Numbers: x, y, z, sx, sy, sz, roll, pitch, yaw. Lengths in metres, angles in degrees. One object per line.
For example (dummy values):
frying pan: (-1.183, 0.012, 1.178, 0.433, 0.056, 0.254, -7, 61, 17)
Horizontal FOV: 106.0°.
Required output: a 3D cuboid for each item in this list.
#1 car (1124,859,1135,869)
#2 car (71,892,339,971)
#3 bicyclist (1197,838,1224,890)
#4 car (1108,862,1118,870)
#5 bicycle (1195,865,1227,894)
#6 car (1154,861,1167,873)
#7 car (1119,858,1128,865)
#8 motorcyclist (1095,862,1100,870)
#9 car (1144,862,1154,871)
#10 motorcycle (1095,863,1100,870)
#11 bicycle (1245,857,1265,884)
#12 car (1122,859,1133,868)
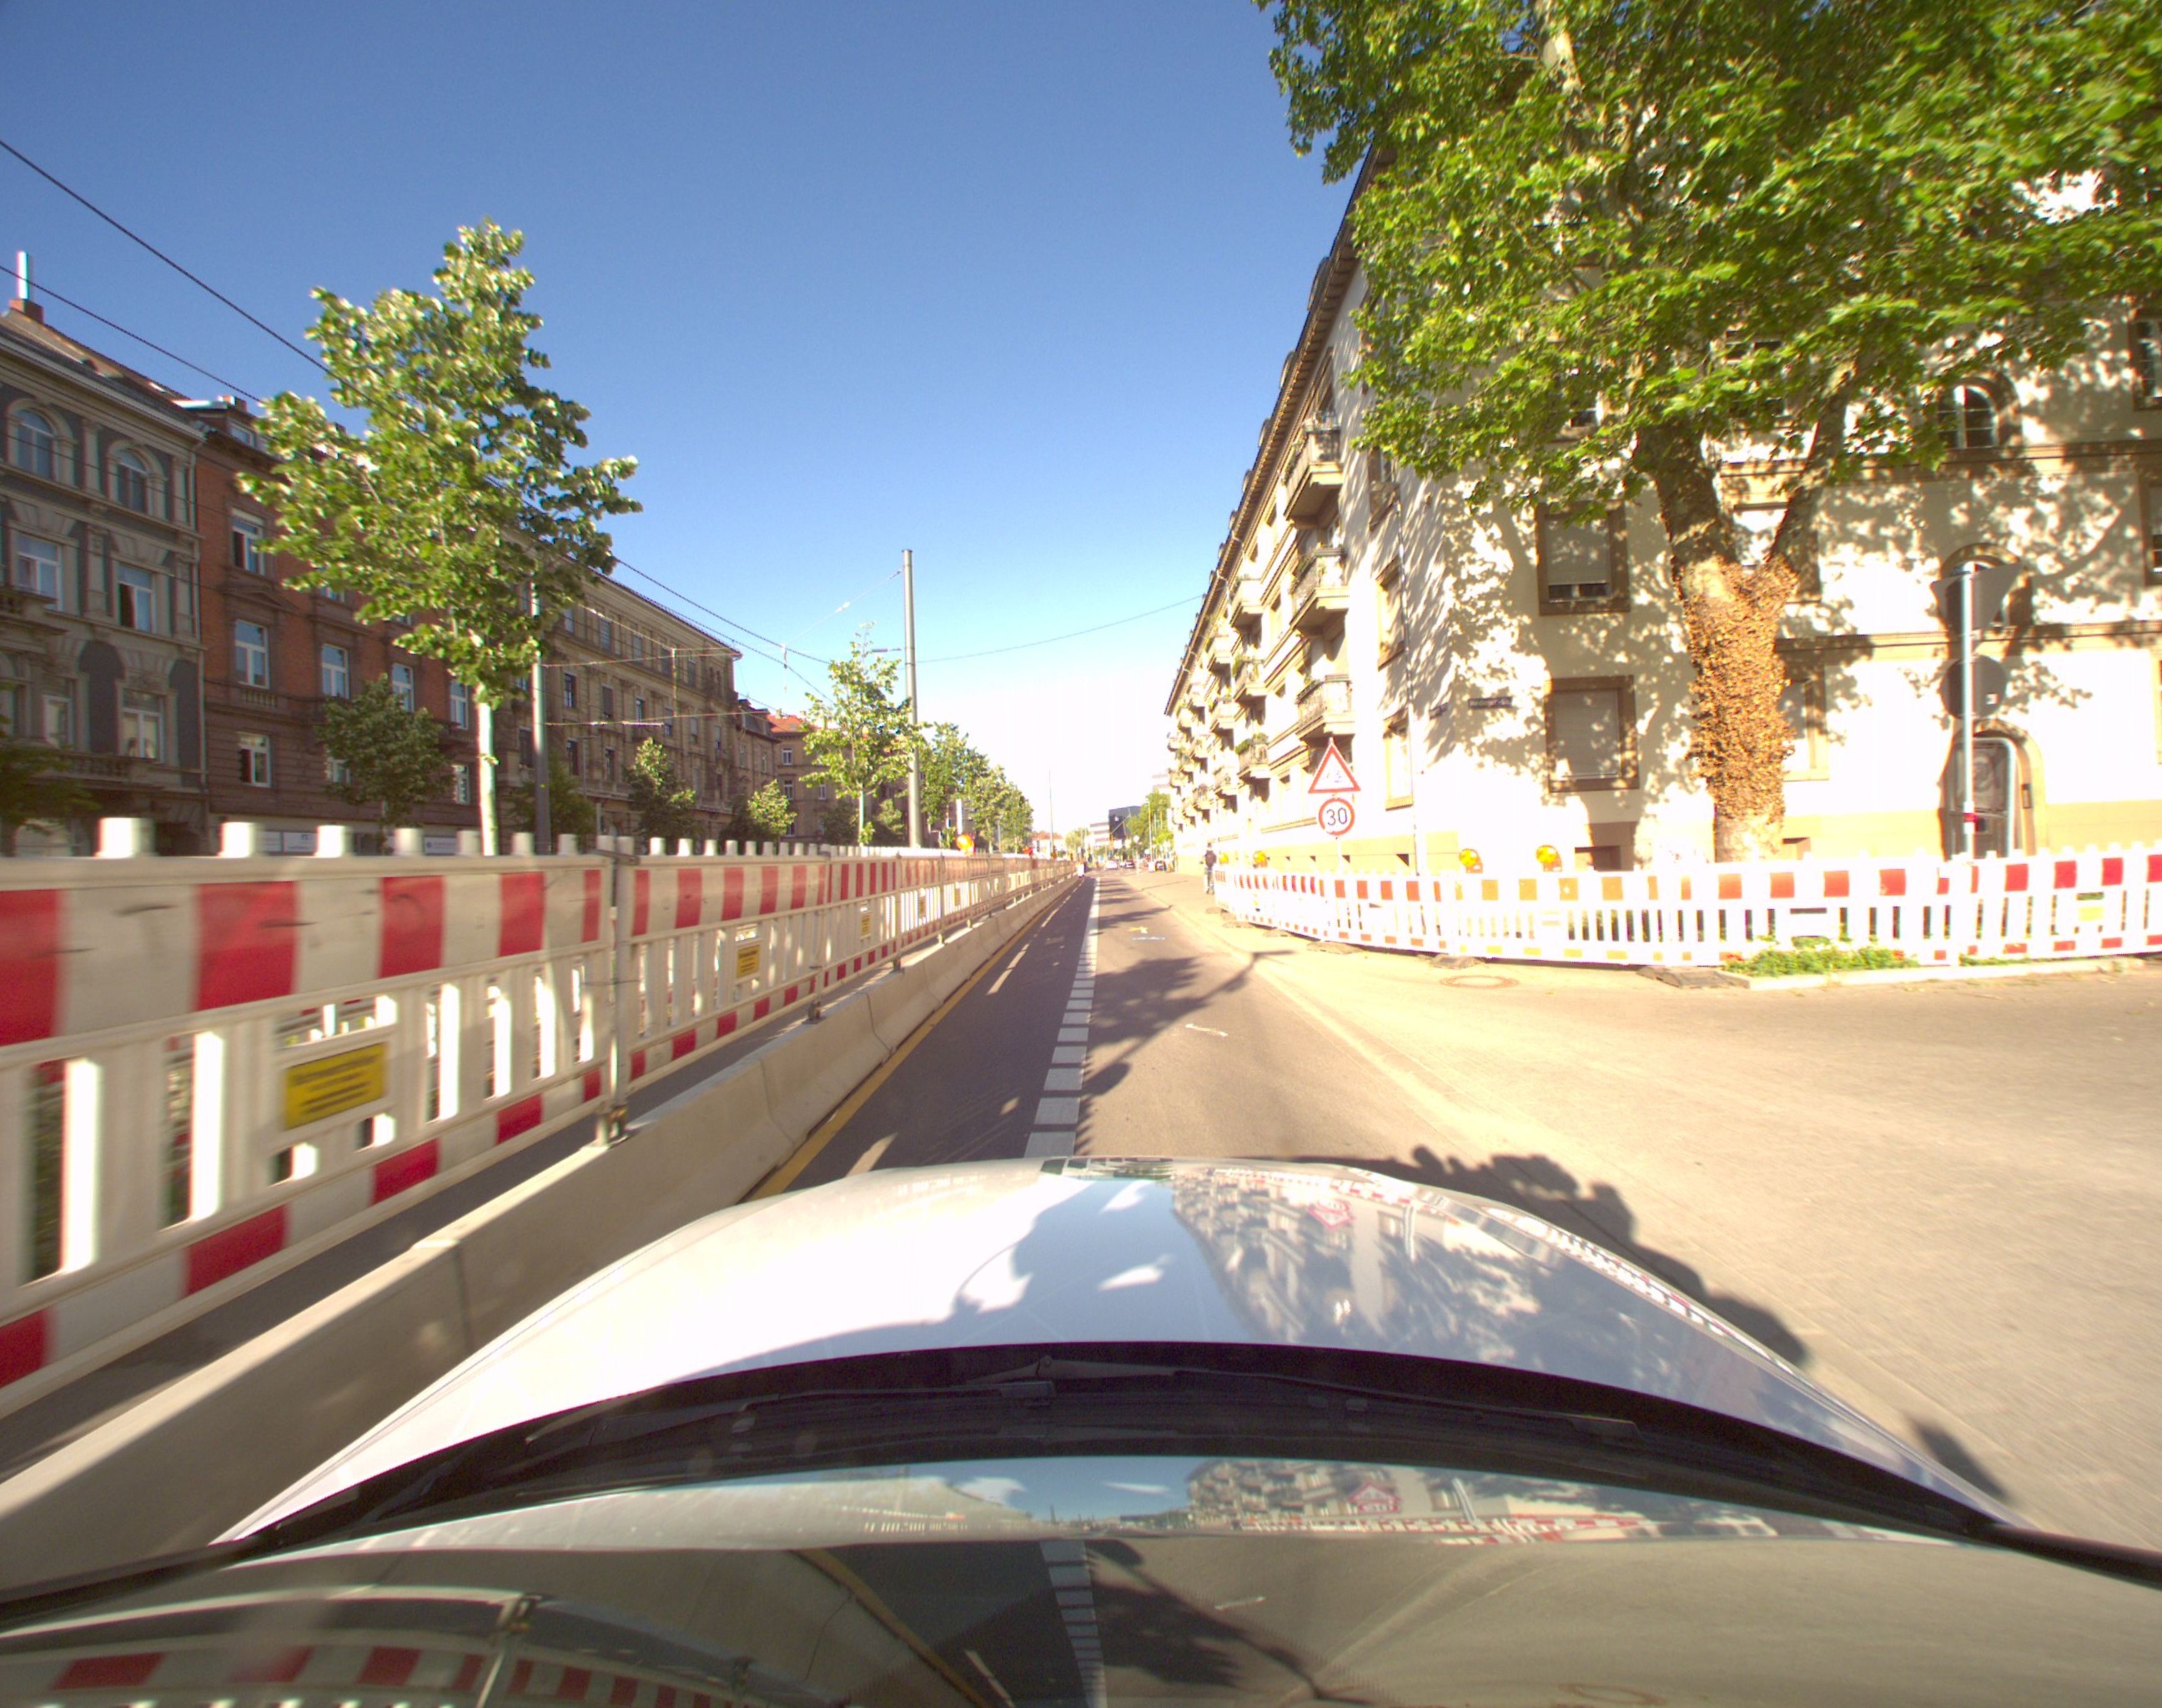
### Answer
car: (9.054, 1.885, 152.926, 1.967, 1.759, 4.635, 0, -1, 2)
car: (-22.554, 1.923, 21.309, 1.930, 1.658, 4.548, 0, -1, 3)
bicyclist: (4.550, 0.352, 28.640, 0.730, 1.763, 0.938, -2, -1, 1)
car: (5.695, 2.205, 146.787, 1.774, 1.414, 4.820, 0, -1, 2)
bicycle: (4.564, 0.874, 28.688, 0.764, 0.953, 2.198, -3, -1, 1)
car: (12.096, 1.997, 123.706, 1.711, 1.637, 4.240, -3, -1, 8)
car: (9.223, 1.662, 177.600, 1.844, 1.498, 4.380, -3, 0, 2)
motorcyclist: (3.449, 2.494, 173.145, 1.015, 1.603, 1.149, 0, -1, 2)
car: (13.706, 2.485, 164.608, 1.839, 1.560, 4.636, 0, 3, 2)
motorcycle: (3.452, 2.667, 173.035, 1.015, 1.312, 2.916, 0, -1, 2)
bicycle: (7.338, 0.692, 34.397, 0.416, 1.095, 2.199, -3, -1, 2)
car: (9.165, 1.821, 160.458, 1.844, 1.640, 4.379, -1, -2, 1)
